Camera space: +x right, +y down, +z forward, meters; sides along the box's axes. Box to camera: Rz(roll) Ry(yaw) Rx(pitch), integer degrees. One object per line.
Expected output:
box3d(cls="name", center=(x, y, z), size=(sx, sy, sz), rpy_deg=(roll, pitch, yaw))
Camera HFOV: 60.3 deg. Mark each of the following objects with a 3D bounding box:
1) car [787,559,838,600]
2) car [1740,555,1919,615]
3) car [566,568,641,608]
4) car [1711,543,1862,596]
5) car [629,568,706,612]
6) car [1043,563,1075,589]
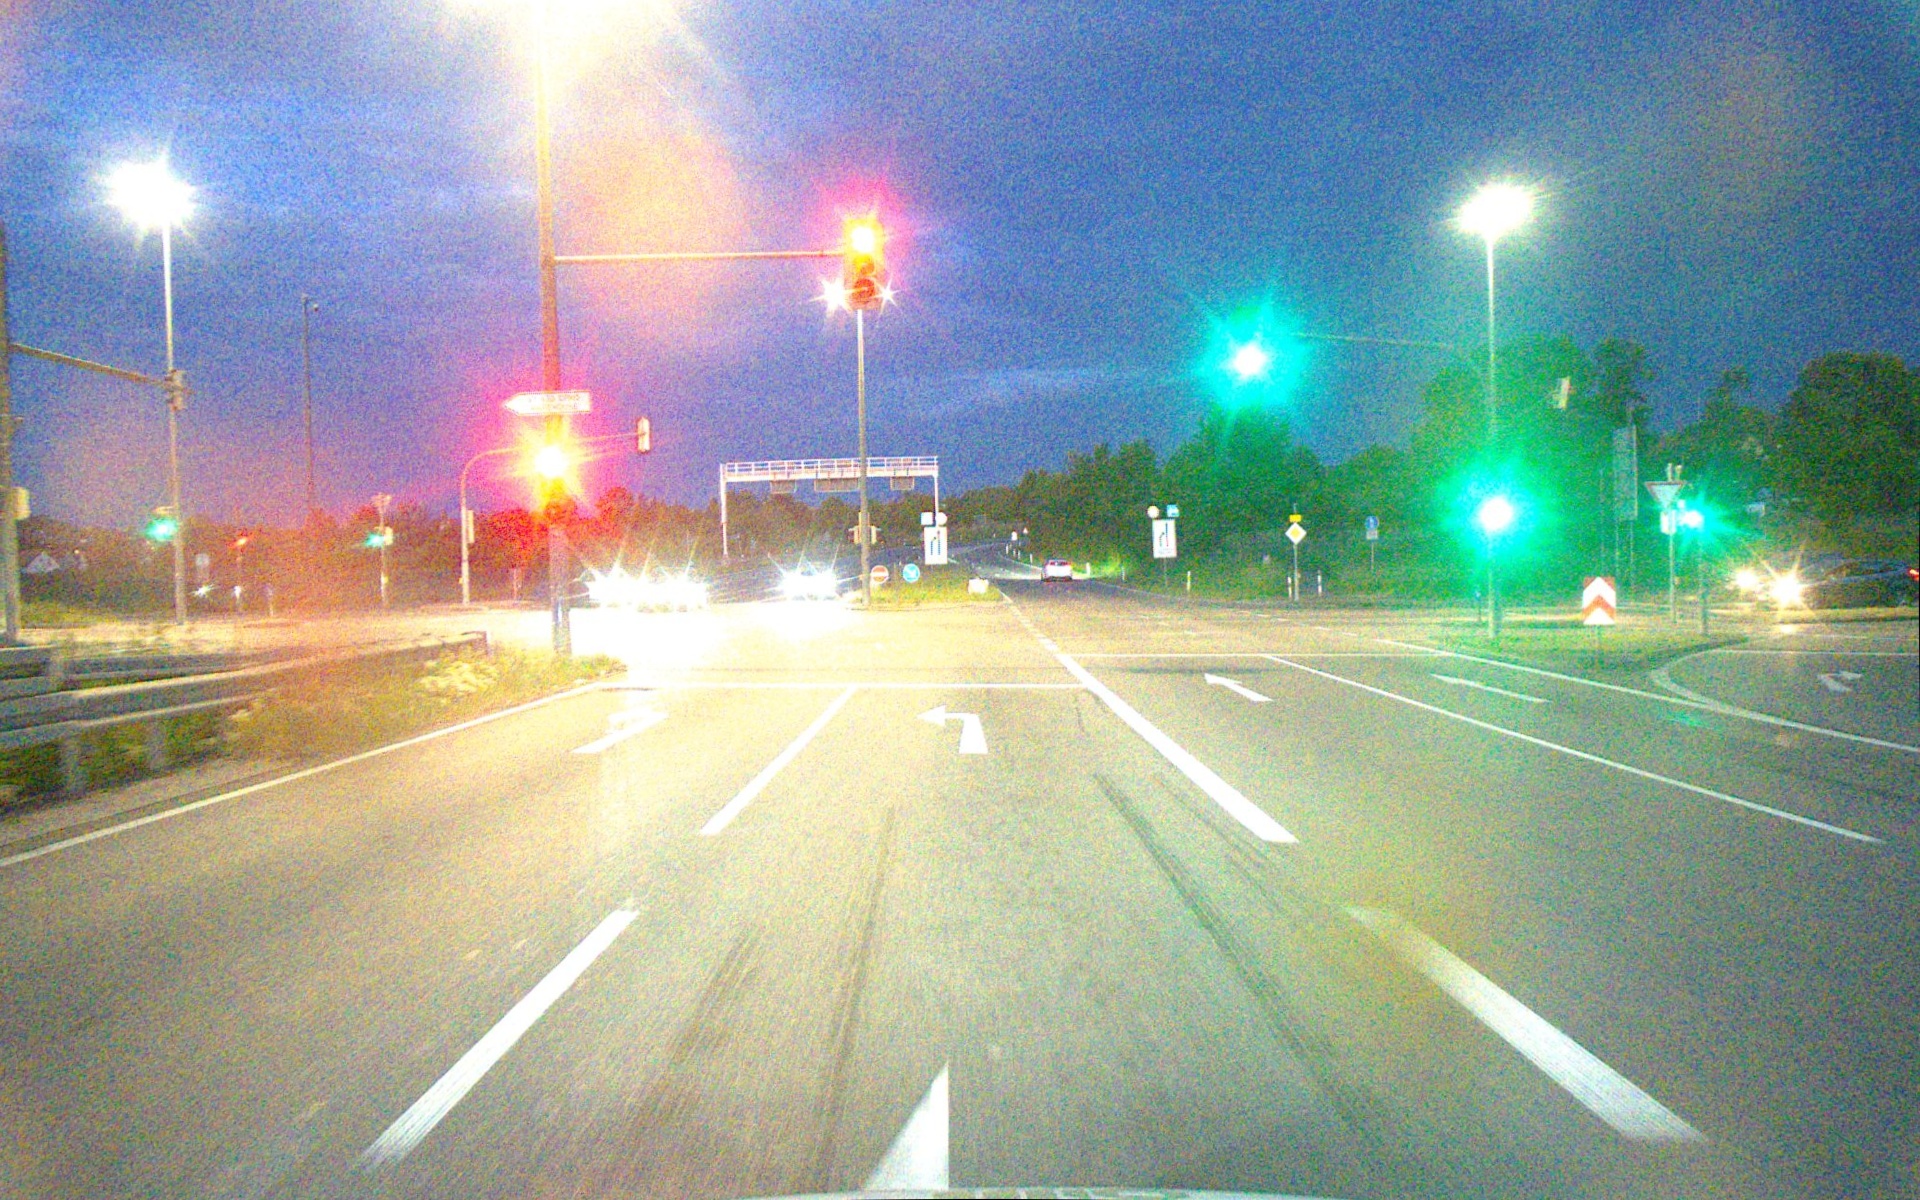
box3d(cls="car", center=(-6.514, -0.937, 73.283), size=(1.953, 1.727, 4.000), rpy_deg=(0, 1, -1))
box3d(cls="car", center=(24.277, -0.428, 46.245), size=(3.992, 1.596, 2.001), rpy_deg=(-1, 1, -3))
box3d(cls="car", center=(-13.681, -0.500, 63.673), size=(1.953, 1.450, 4.532), rpy_deg=(0, 1, -1))
box3d(cls="car", center=(26.494, -0.995, 53.093), size=(3.907, 1.596, 1.900), rpy_deg=(-1, 1, -3))
box3d(cls="car", center=(-10.363, -0.390, 58.827), size=(1.953, 1.507, 4.681), rpy_deg=(0, 1, -1))
box3d(cls="car", center=(6.430, -1.586, 107.923), size=(1.966, 1.639, 3.847), rpy_deg=(-1, 1, 2))
